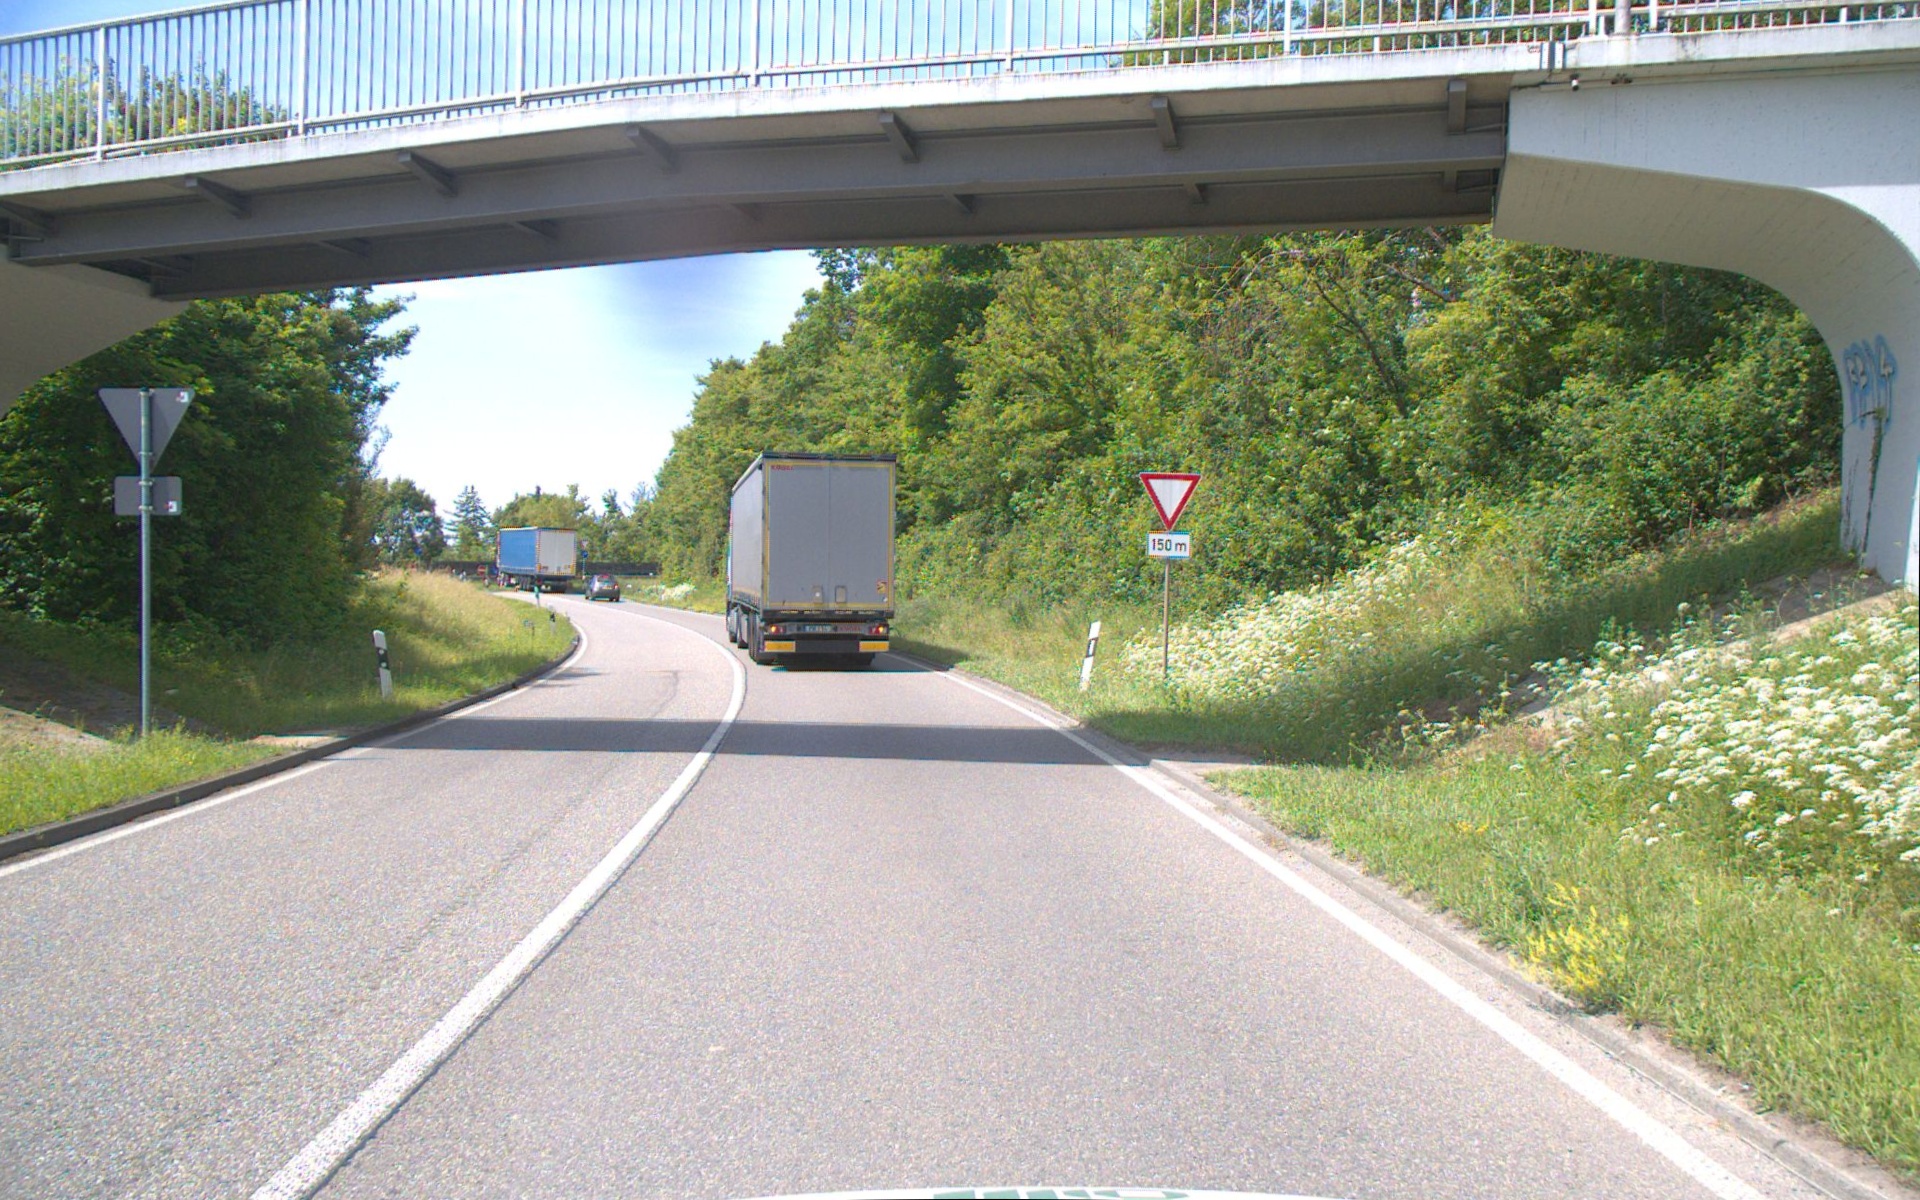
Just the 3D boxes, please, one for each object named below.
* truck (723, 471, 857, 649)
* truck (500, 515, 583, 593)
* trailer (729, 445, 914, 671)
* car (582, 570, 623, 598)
[{"bbox_3d":[-4.670,-0.976,44.084,3.095,4.298,7.107,1,0,-9],"label":"truck"},{"bbox_3d":[-28.310,-3.005,111.279,3.772,4.827,16.107,0,1,-20],"label":"truck"},{"bbox_3d":[-3.441,-0.802,36.910,2.972,4.105,13.321,1,0,-10],"label":"trailer"},{"bbox_3d":[-20.472,-0.913,94.729,1.643,1.512,3.973,0,1,-22],"label":"car"}]
